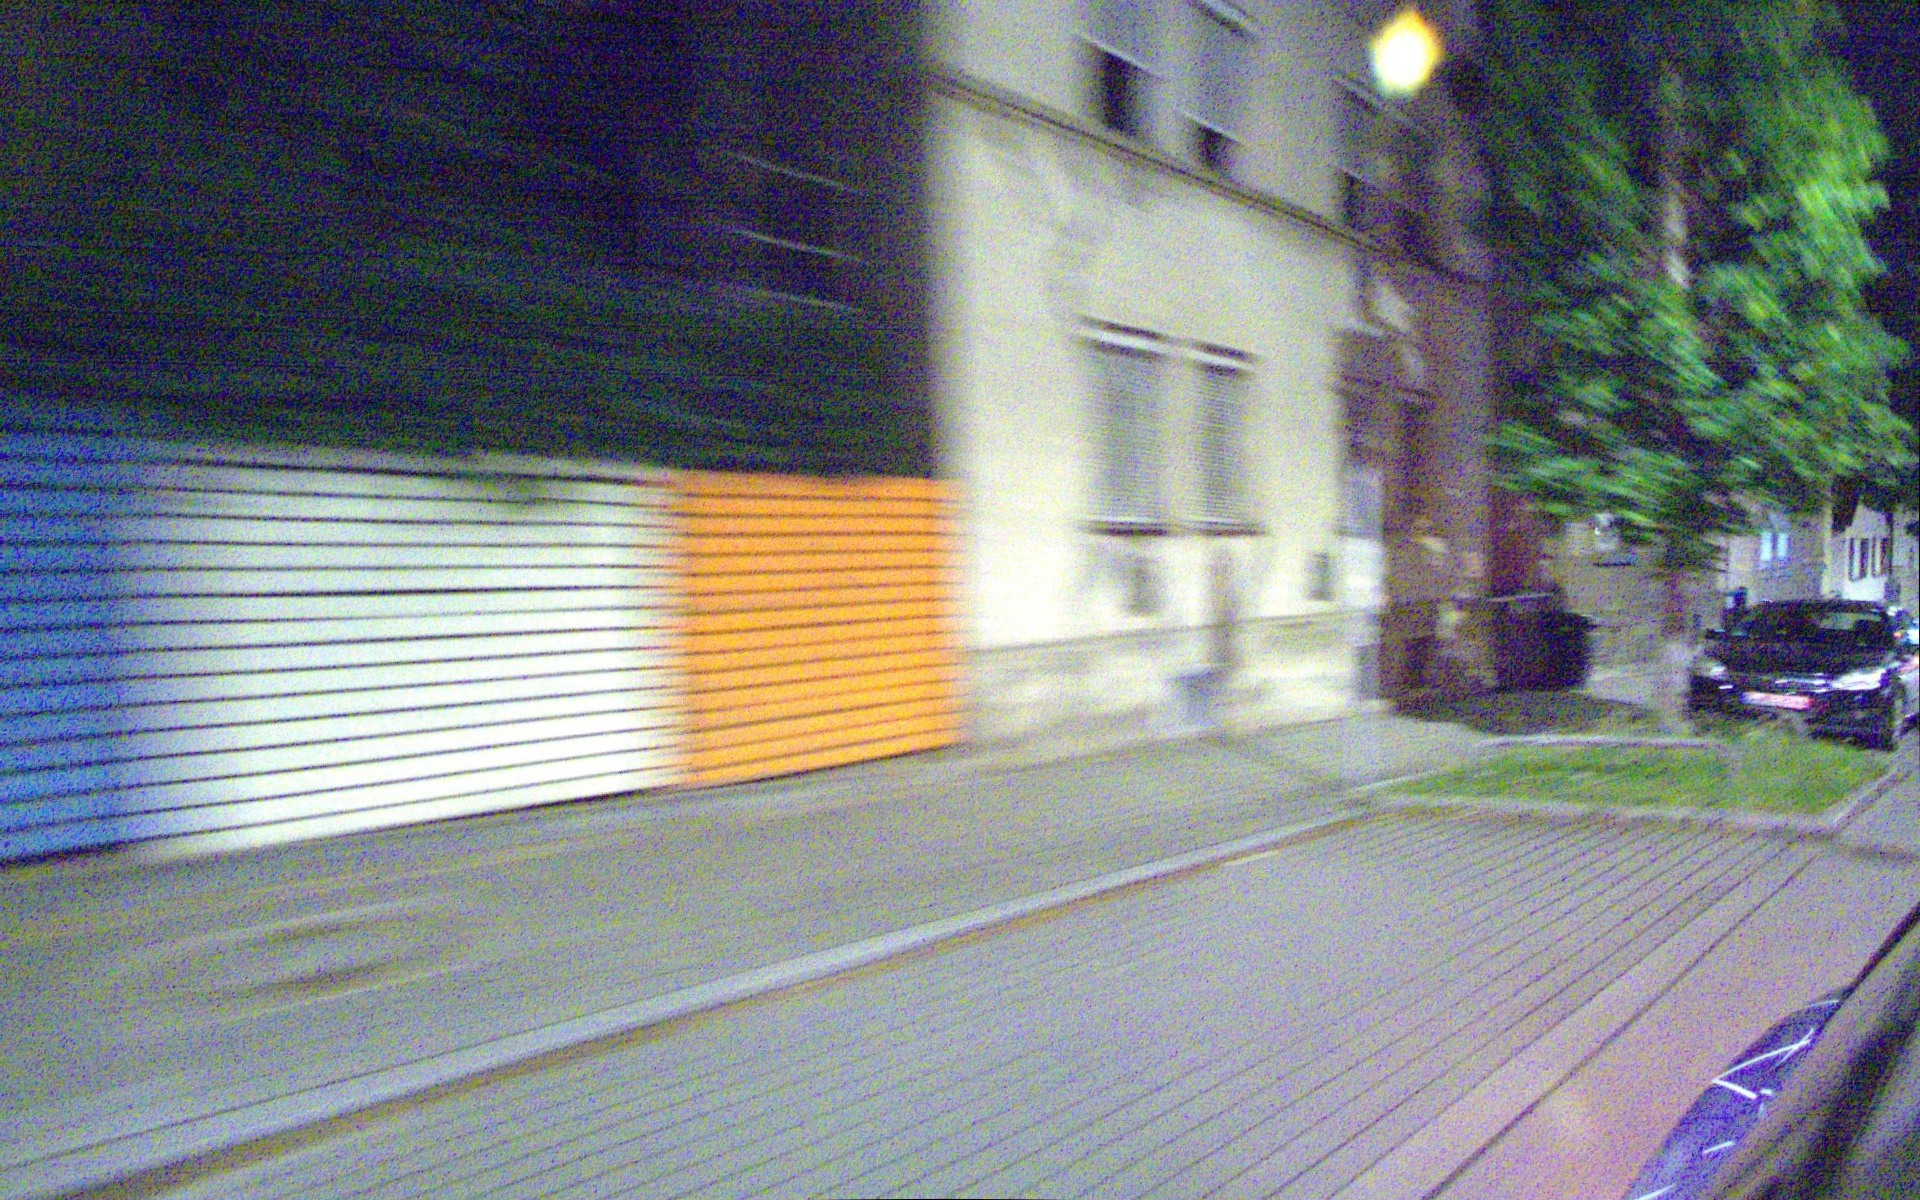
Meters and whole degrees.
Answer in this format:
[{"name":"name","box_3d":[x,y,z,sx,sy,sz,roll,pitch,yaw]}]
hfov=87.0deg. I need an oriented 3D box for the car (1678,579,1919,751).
[{"name":"car","box_3d":[9.599,0.579,11.178,4.008,1.494,1.767,0,3,-41]}]
